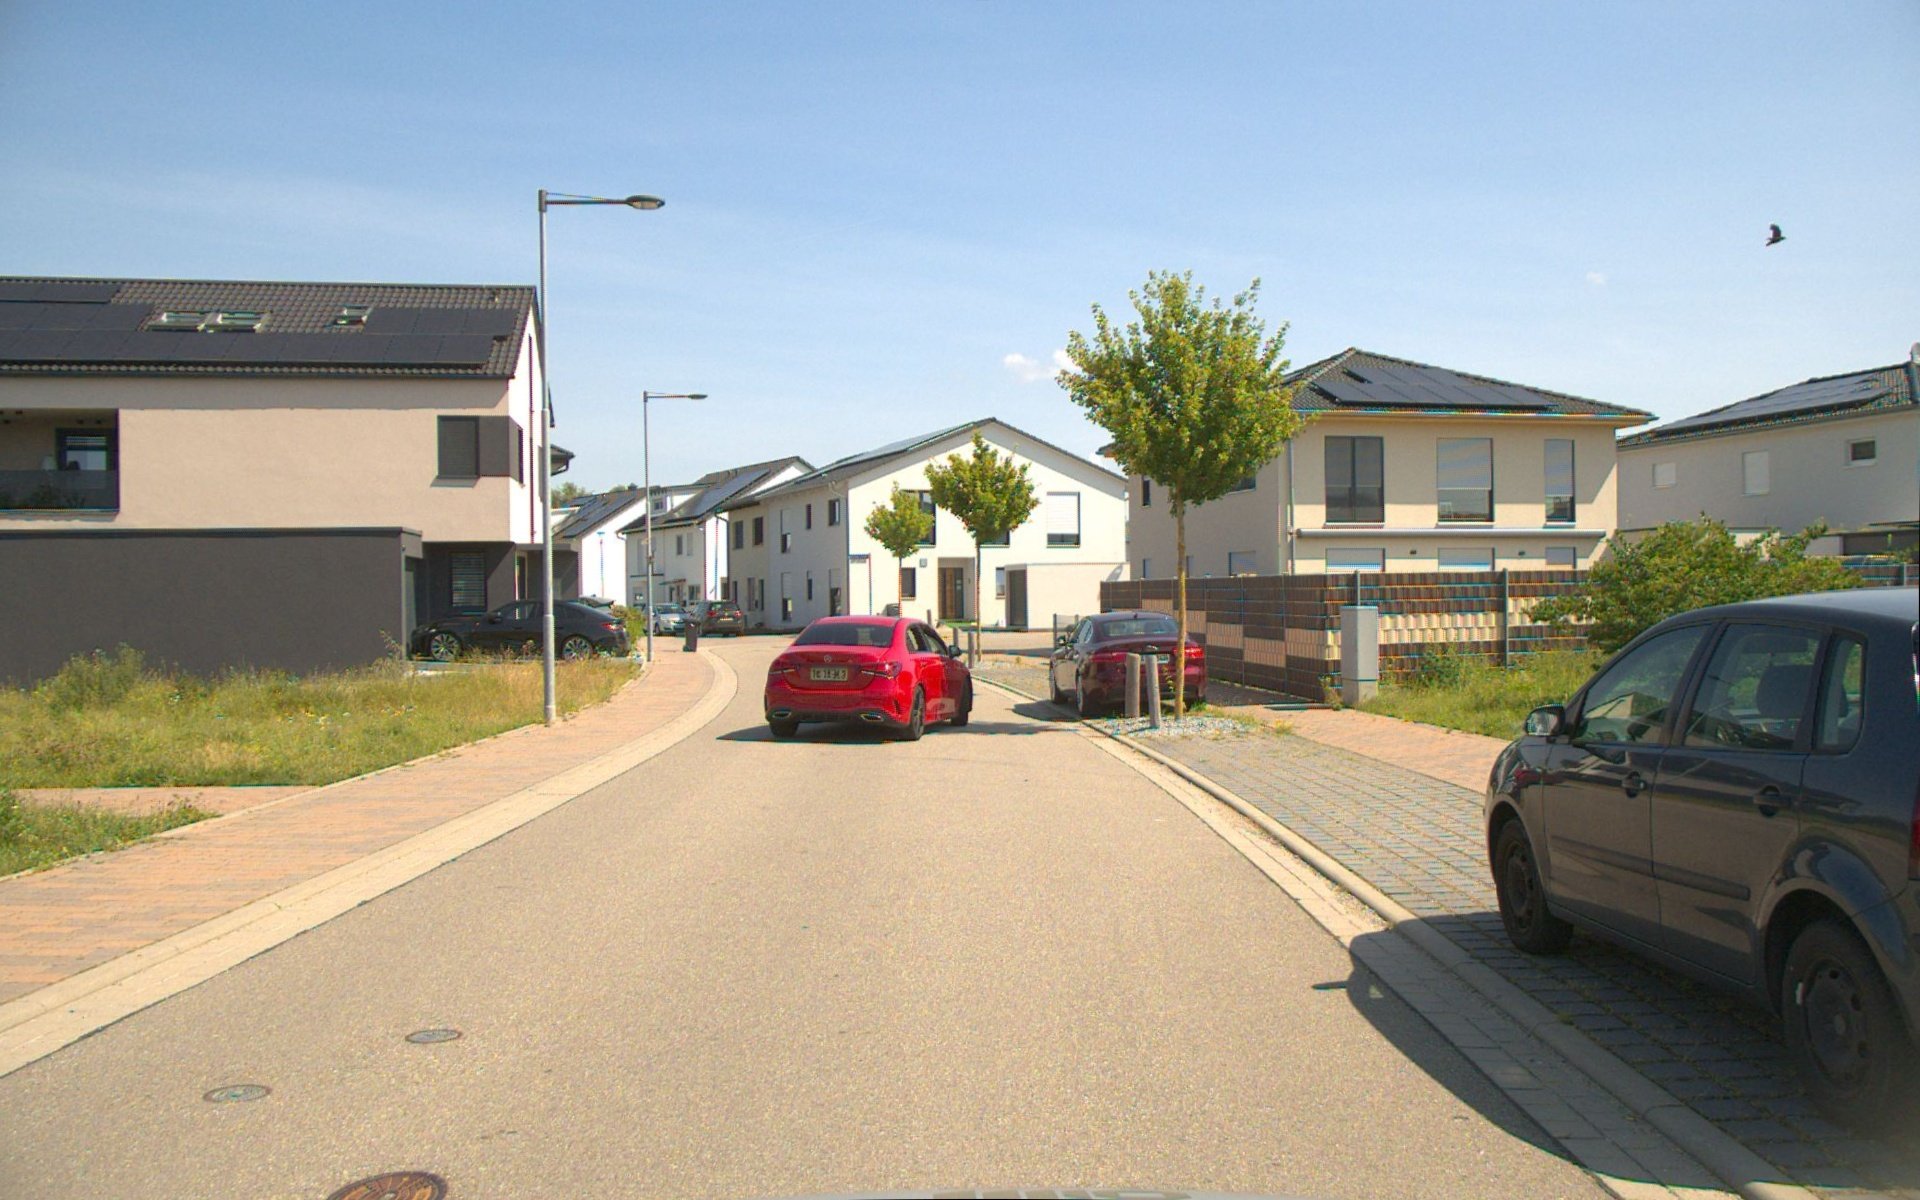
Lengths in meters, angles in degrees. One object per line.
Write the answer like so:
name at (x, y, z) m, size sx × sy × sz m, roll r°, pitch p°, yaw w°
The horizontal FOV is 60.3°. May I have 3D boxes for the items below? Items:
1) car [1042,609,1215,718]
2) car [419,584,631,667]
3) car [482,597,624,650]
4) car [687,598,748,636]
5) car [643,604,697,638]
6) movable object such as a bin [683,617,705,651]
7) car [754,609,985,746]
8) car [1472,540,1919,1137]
car at (2.412, 0.869, 24.830) m, size 1.720 × 1.387 × 4.571 m, roll -2°, pitch 0°, yaw -5°
car at (-9.546, 0.567, 36.608) m, size 4.294 × 1.660 × 1.767 m, roll 2°, pitch -1°, yaw -8°
car at (-12.113, 0.685, 49.394) m, size 3.910 × 1.512 × 1.752 m, roll 0°, pitch 0°, yaw -7°
car at (-9.838, 0.696, 66.881) m, size 1.701 × 1.447 × 3.977 m, roll -1°, pitch 0°, yaw -19°
car at (-13.373, 0.944, 76.123) m, size 1.654 × 1.489 × 3.918 m, roll -1°, pitch 0°, yaw -22°
movable object such as a bin at (-7.601, 0.956, 47.208) m, size 0.523 × 0.952 × 0.526 m, roll 1°, pitch 0°, yaw 1°
car at (-0.979, 0.855, 20.416) m, size 1.725 × 1.463 × 4.523 m, roll 0°, pitch 0°, yaw 12°
car at (3.175, 0.604, 5.812) m, size 1.566 × 1.501 × 3.674 m, roll 0°, pitch 0°, yaw -1°
